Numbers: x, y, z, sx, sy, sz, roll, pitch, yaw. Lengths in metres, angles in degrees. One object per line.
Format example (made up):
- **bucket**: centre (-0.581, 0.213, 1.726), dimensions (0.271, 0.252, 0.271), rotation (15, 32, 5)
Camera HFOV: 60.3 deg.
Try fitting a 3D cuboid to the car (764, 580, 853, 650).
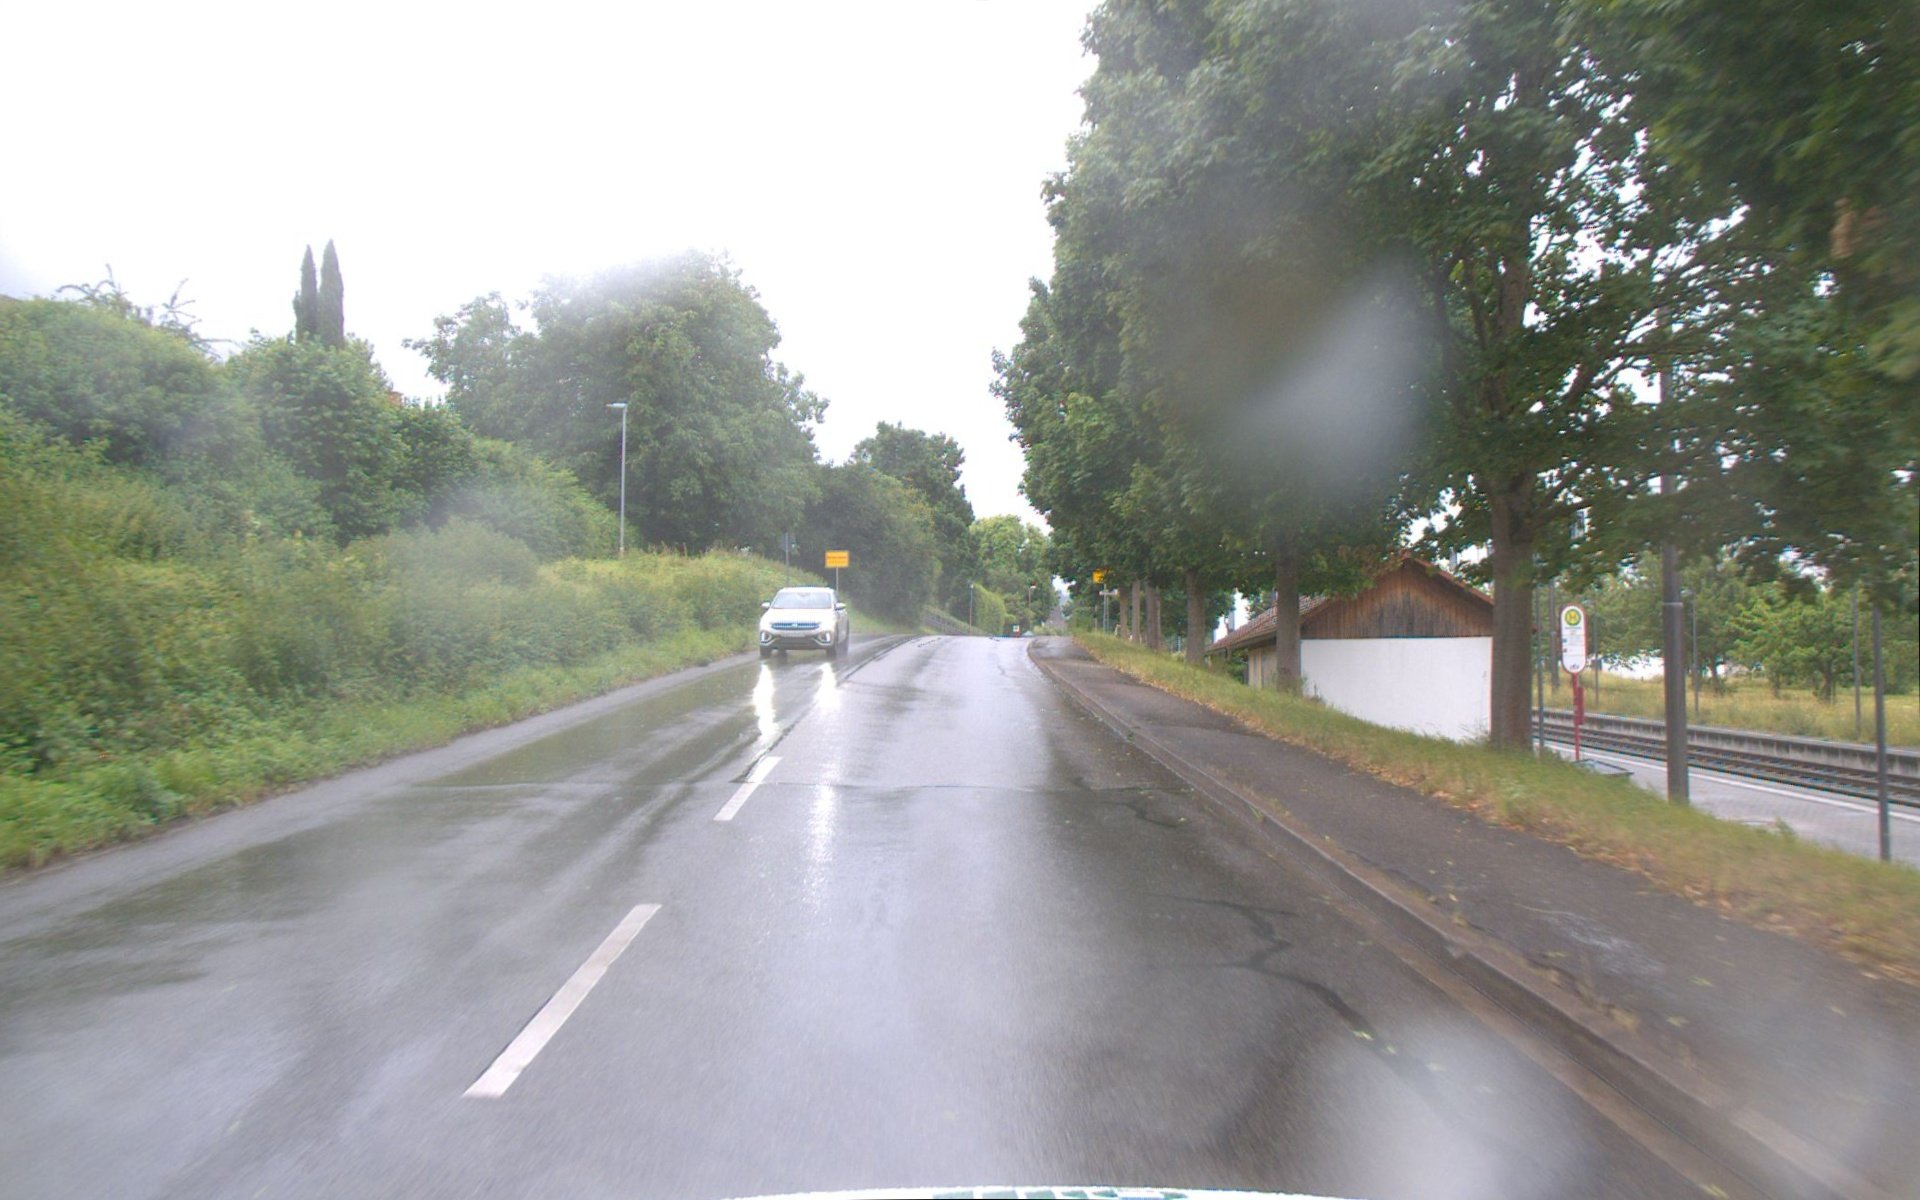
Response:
- **car**: centre (-3.526, 0.318, 39.091), dimensions (1.745, 1.531, 4.000), rotation (0, 1, 0)
